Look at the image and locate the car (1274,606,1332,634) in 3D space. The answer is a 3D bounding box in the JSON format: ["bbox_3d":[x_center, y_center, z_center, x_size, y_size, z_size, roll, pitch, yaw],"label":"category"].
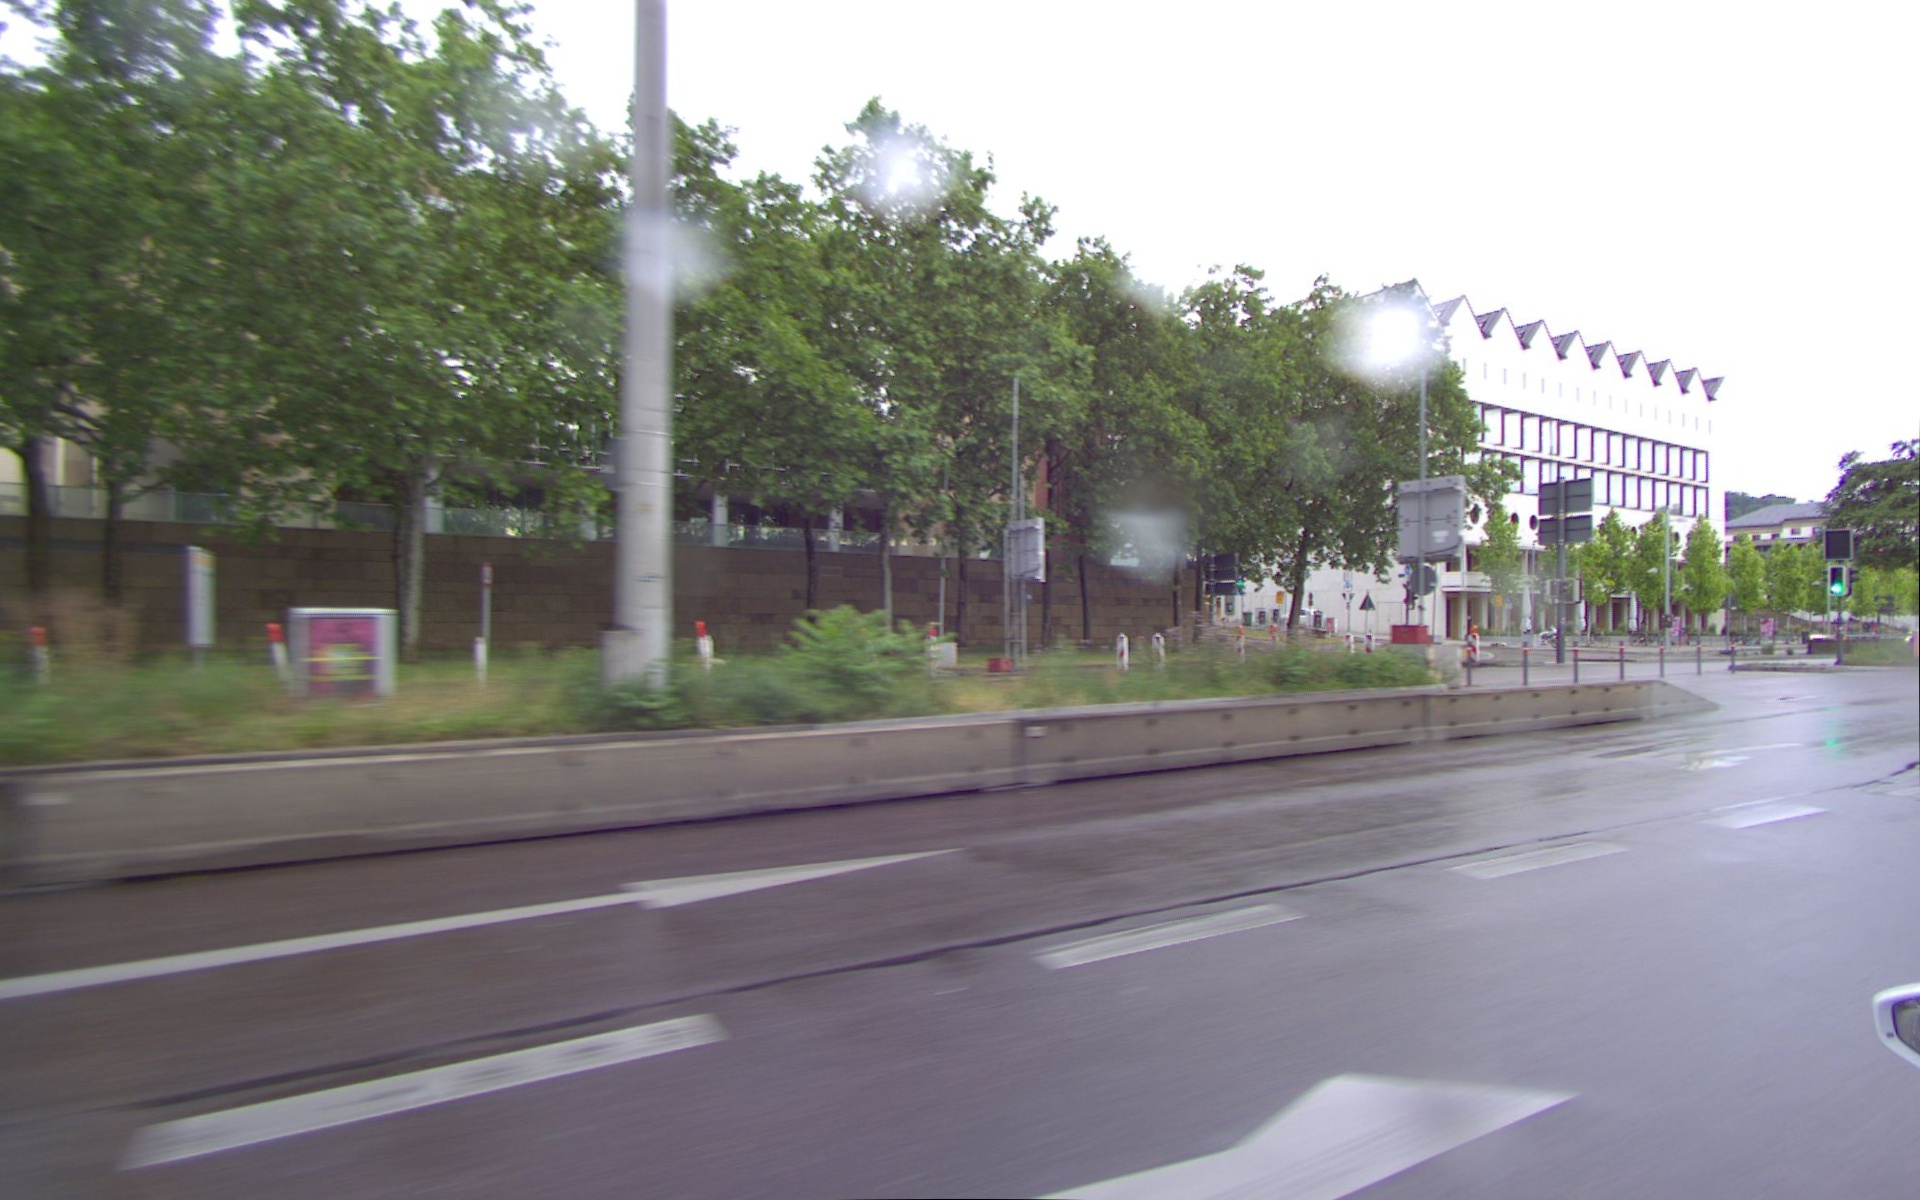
[{"bbox_3d":[26.020,1.556,76.316,1.973,2.040,3.975,1,-2,-26],"label":"car"}]

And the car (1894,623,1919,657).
[{"bbox_3d":[53.853,2.244,55.627,4.841,1.864,1.982,3,-3,-33],"label":"car"}]

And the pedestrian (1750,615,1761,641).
[{"bbox_3d":[62.697,2.184,79.146,0.531,2.040,0.530,-1,-3,24],"label":"pedestrian"}]

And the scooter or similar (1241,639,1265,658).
[{"bbox_3d":[17.029,2.823,58.436,0.430,1.031,1.668,1,-3,-19],"label":"scooter or similar"}]

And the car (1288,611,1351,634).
[{"bbox_3d":[26.140,1.634,73.128,1.979,1.617,3.964,1,-1,-33],"label":"car"}]

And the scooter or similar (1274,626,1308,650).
[{"bbox_3d":[18.571,2.136,56.356,1.645,1.369,0.713,1,-3,-11],"label":"scooter or similar"}]

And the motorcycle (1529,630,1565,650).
[{"bbox_3d":[35.296,2.403,60.411,1.808,1.169,0.426,-1,-2,32],"label":"motorcycle"}]
